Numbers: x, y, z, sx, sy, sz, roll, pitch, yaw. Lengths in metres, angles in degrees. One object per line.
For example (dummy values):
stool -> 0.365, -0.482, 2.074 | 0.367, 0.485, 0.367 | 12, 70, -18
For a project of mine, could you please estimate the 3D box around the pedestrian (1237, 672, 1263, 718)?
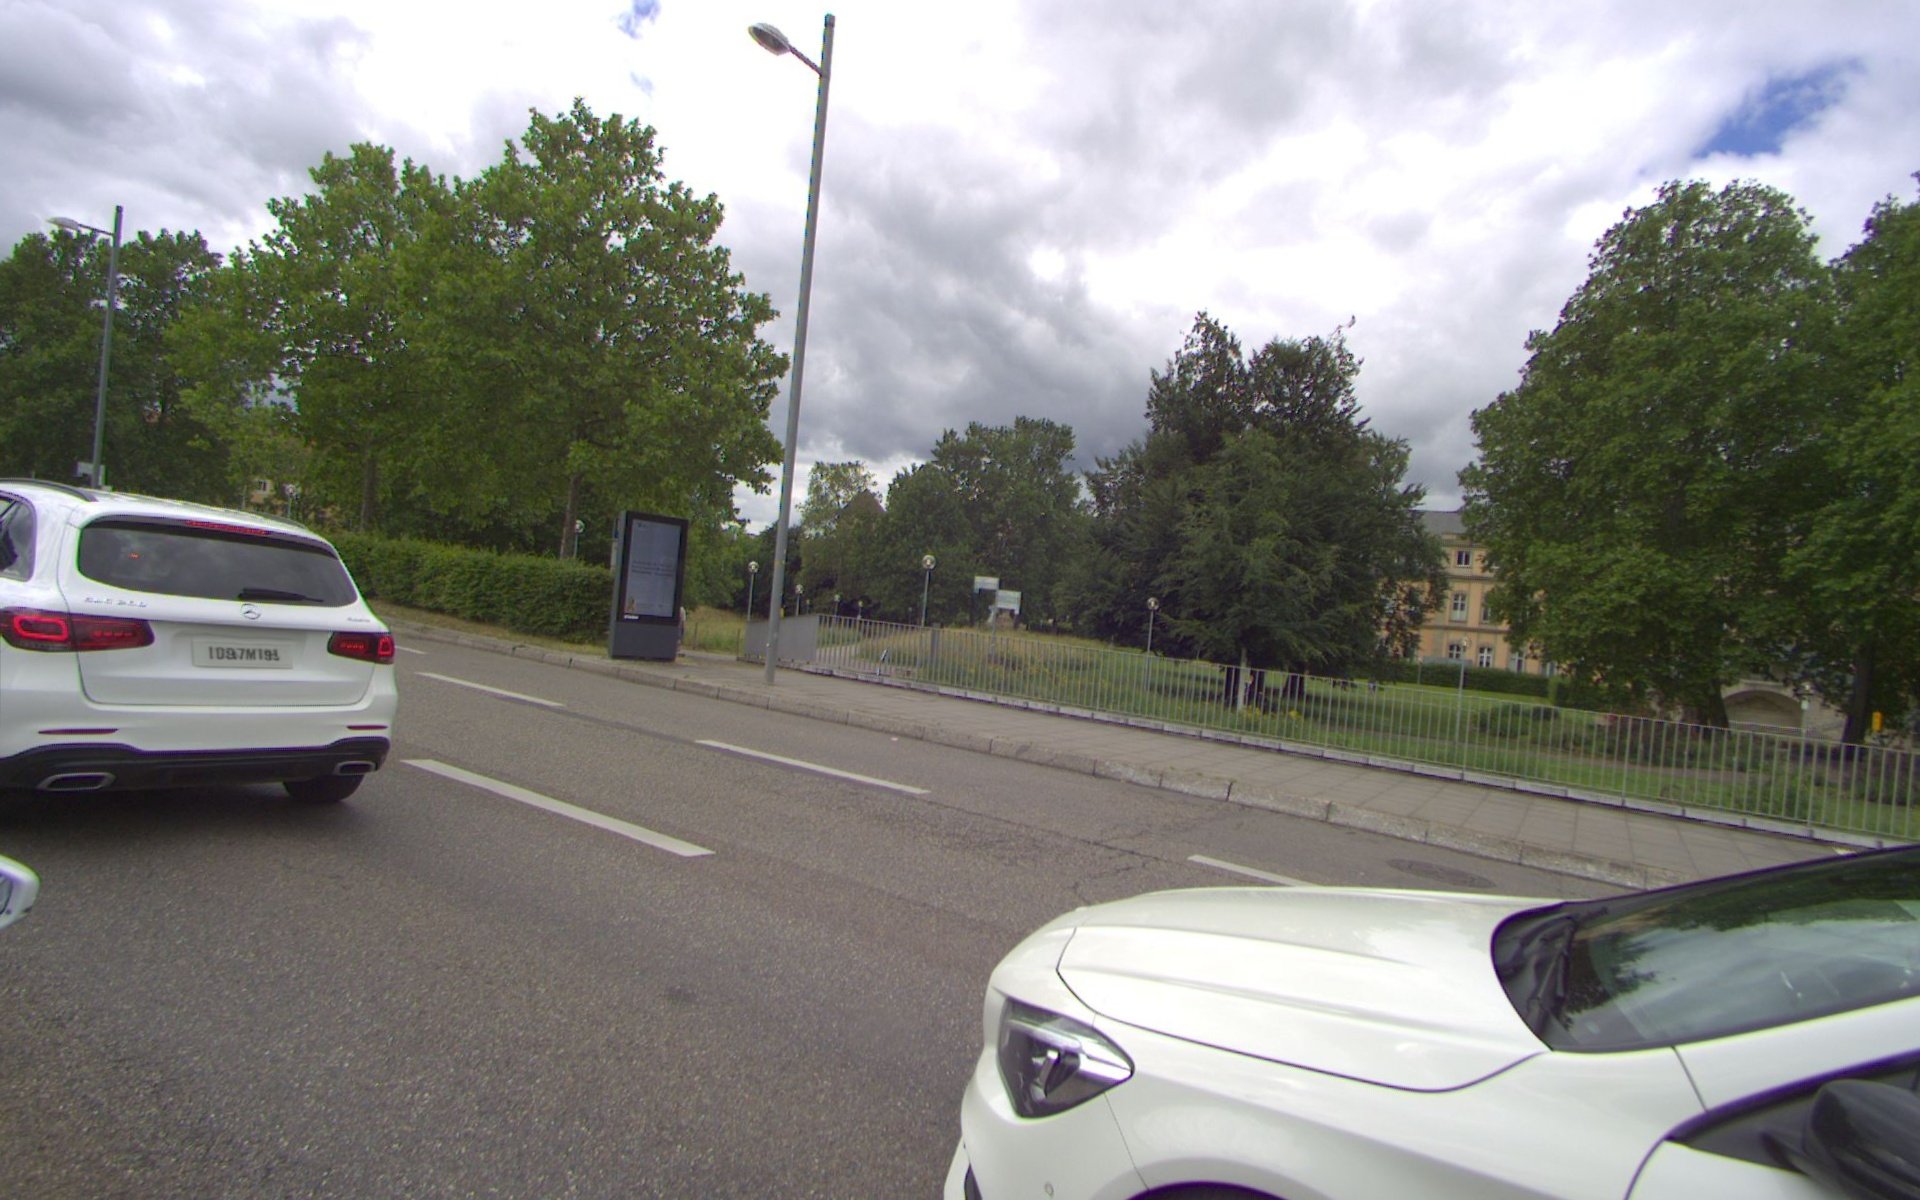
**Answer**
pedestrian -> 10.724, 3.508, 37.203 | 0.645, 1.619, 0.684 | 6, -2, 3

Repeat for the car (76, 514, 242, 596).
car -> -18.842, -1.084, 23.606 | 4.460, 1.476, 1.932 | 5, -3, 38

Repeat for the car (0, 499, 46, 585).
car -> -21.187, -1.414, 20.892 | 4.232, 1.659, 1.997 | 7, -1, 30

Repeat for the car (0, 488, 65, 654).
car -> -11.387, -0.514, 10.452 | 4.417, 1.569, 1.929 | 6, -2, 33

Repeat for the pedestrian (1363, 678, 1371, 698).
pedestrian -> 37.835, 8.162, 93.483 | 0.460, 1.756, 0.405 | 5, -2, 32

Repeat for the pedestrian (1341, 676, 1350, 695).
pedestrian -> 36.079, 7.995, 94.215 | 0.402, 1.756, 0.464 | 8, -2, -32

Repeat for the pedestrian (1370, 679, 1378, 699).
pedestrian -> 38.655, 8.301, 93.876 | 0.460, 1.725, 0.405 | 5, -2, 32

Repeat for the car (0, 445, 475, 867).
car -> -5.120, 0.104, 5.951 | 4.417, 1.673, 1.929 | 6, -1, 33

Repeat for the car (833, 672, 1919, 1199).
car -> 2.104, 1.122, 1.658 | 4.454, 1.436, 1.796 | 5, -2, 33
